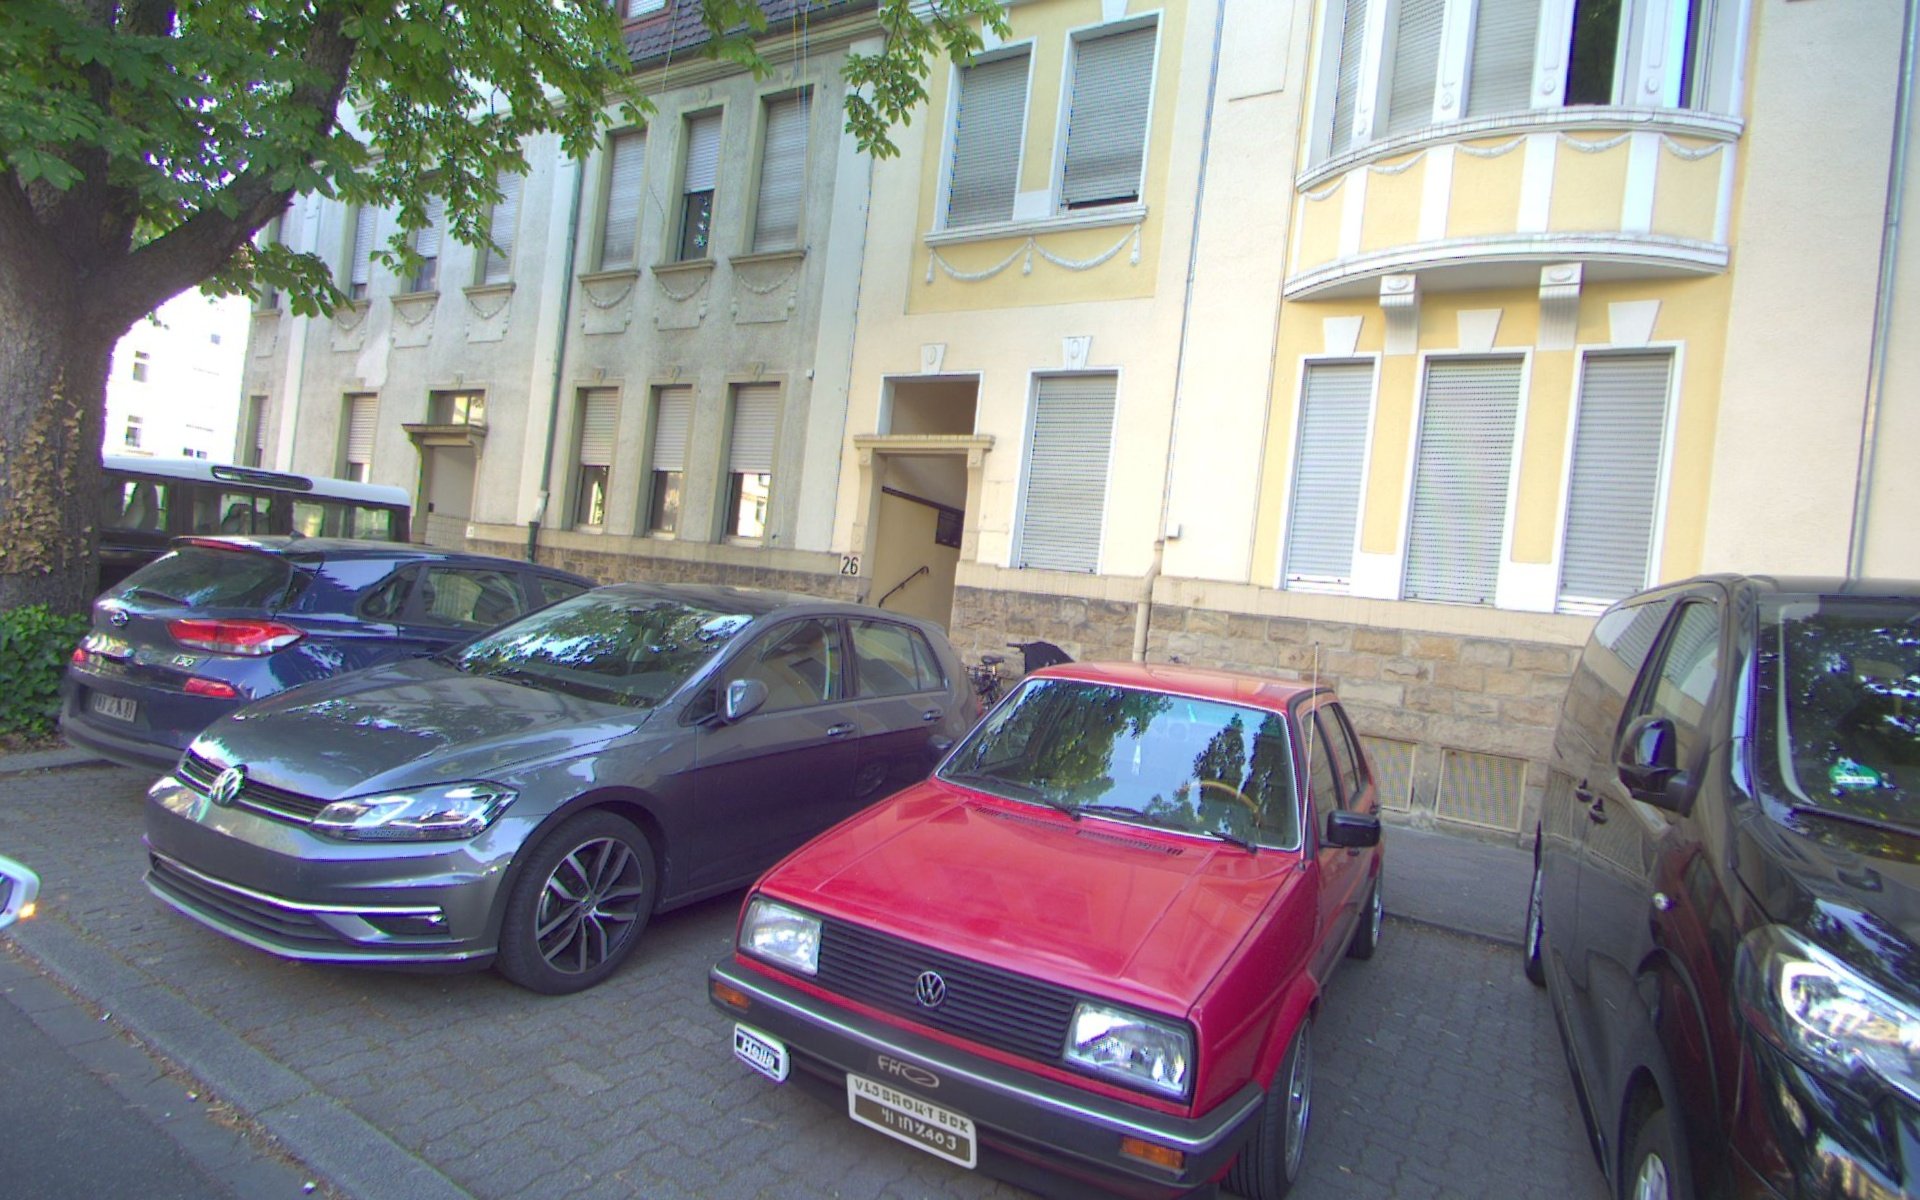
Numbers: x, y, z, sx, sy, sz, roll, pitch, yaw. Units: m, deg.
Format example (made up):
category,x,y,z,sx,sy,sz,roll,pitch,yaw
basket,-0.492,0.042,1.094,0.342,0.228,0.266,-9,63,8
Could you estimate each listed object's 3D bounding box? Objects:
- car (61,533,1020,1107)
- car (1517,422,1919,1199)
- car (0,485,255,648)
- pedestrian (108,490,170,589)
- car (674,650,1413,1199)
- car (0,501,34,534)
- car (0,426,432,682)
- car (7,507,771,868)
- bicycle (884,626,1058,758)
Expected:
category,x,y,z,sx,sy,sz,roll,pitch,yaw
car,-1.356,0.652,4.817,1.600,1.440,4.054,6,0,29
car,2.888,0.897,2.940,1.848,1.847,4.829,6,0,27
car,-10.064,-0.396,10.920,1.680,1.606,3.488,7,0,25
pedestrian,-16.344,-1.197,20.029,0.565,1.867,0.633,7,0,28
car,0.838,0.964,4.216,1.532,1.337,3.916,6,0,29
car,-36.524,-3.252,36.972,1.357,1.081,3.370,7,-1,30
car,-7.611,-0.378,9.307,1.762,1.981,4.496,7,1,29
car,-3.053,0.418,6.208,1.600,1.440,3.754,6,0,29
bicycle,0.095,0.907,10.340,1.675,1.090,0.500,7,2,32
